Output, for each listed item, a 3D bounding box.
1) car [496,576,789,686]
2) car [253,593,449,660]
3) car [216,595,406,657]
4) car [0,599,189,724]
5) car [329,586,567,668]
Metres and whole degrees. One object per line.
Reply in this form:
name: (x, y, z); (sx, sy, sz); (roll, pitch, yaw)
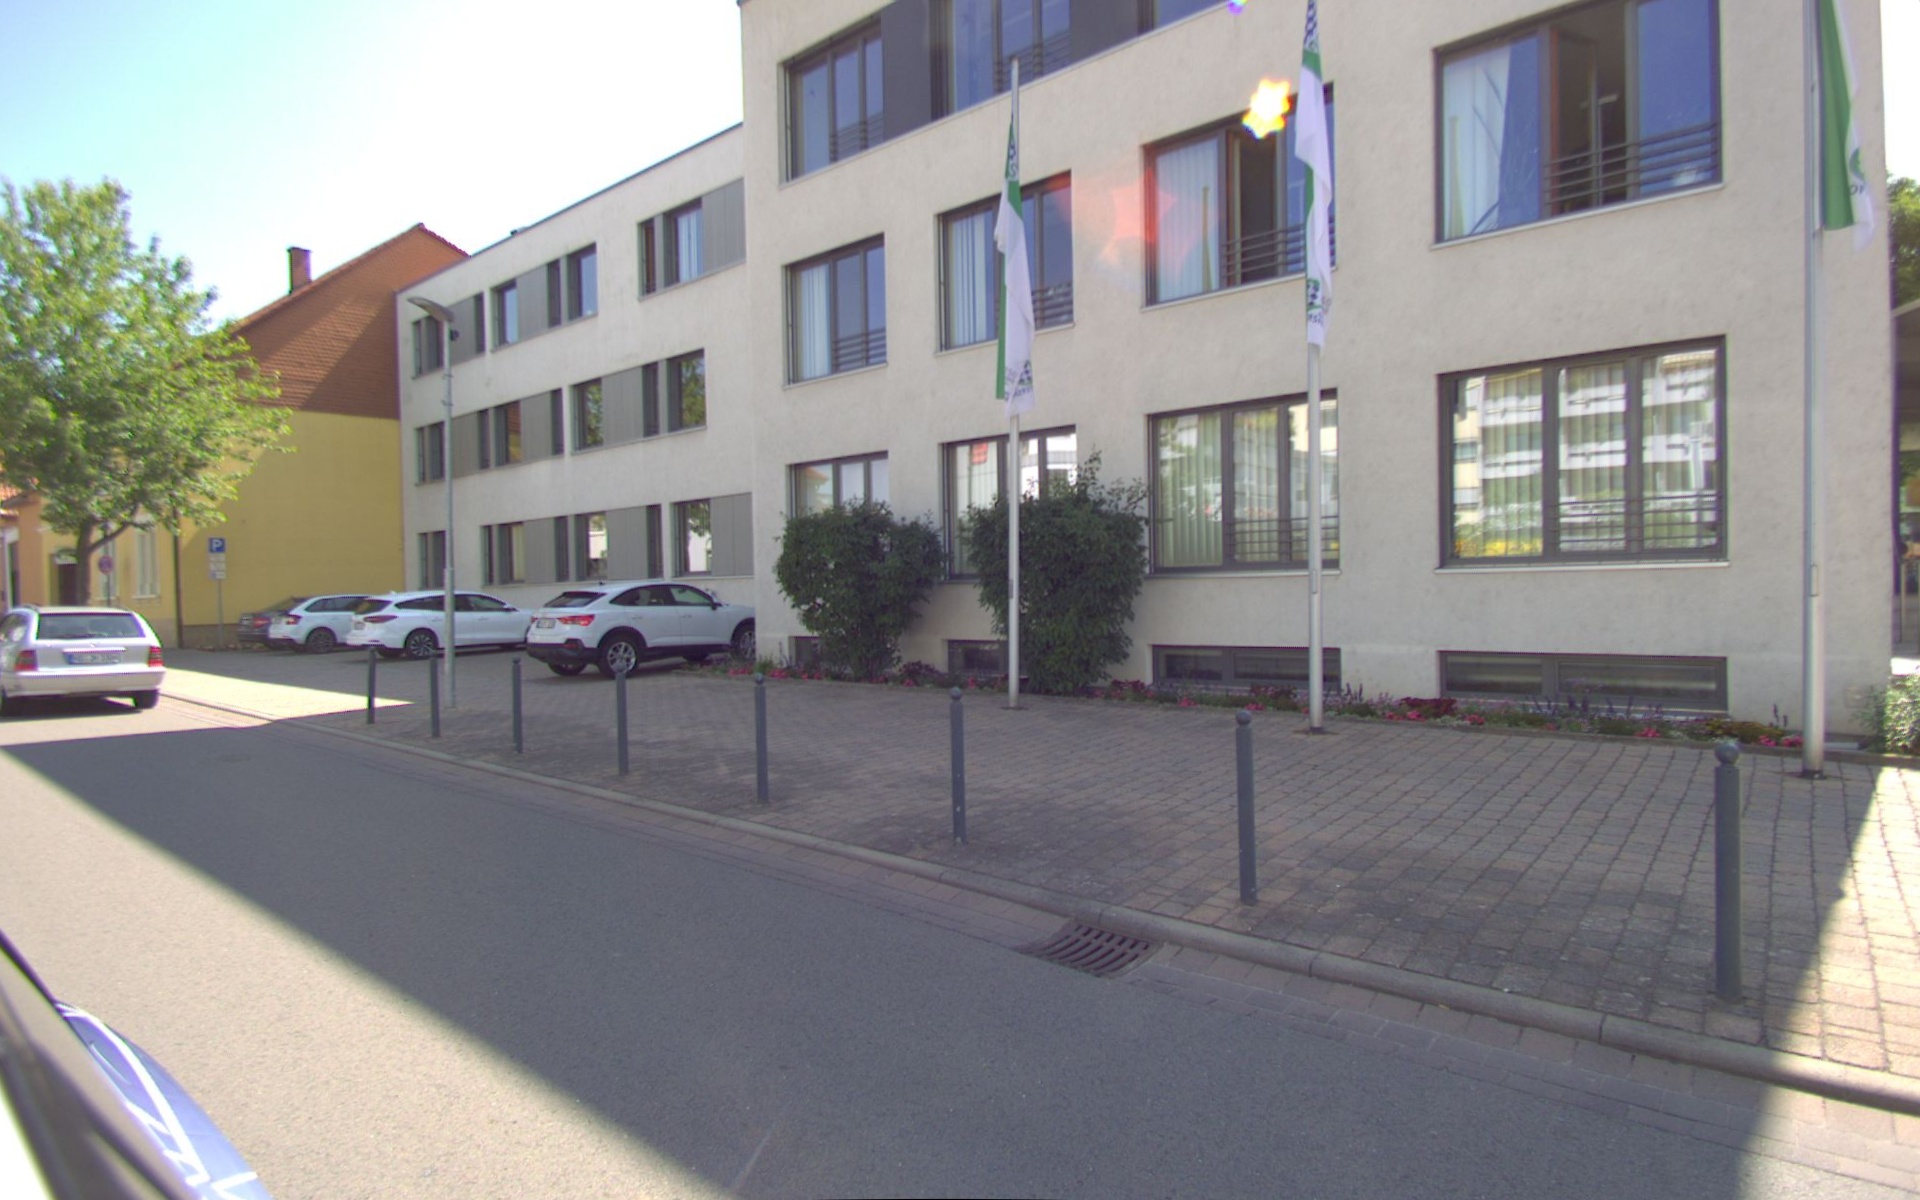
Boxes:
car: (-5.420, 0.443, 17.784); (2.145, 1.565, 4.463); (-1, 2, 38)
car: (-15.713, 0.629, 26.267); (1.806, 1.462, 3.947); (-2, 1, 40)
car: (-17.805, 0.678, 27.922); (1.968, 1.442, 3.952); (-2, 1, 36)
car: (-12.824, 0.760, 14.531); (4.433, 1.475, 1.861); (1, 0, 40)
car: (-11.641, 0.522, 23.272); (1.933, 1.565, 4.459); (0, 3, 40)
